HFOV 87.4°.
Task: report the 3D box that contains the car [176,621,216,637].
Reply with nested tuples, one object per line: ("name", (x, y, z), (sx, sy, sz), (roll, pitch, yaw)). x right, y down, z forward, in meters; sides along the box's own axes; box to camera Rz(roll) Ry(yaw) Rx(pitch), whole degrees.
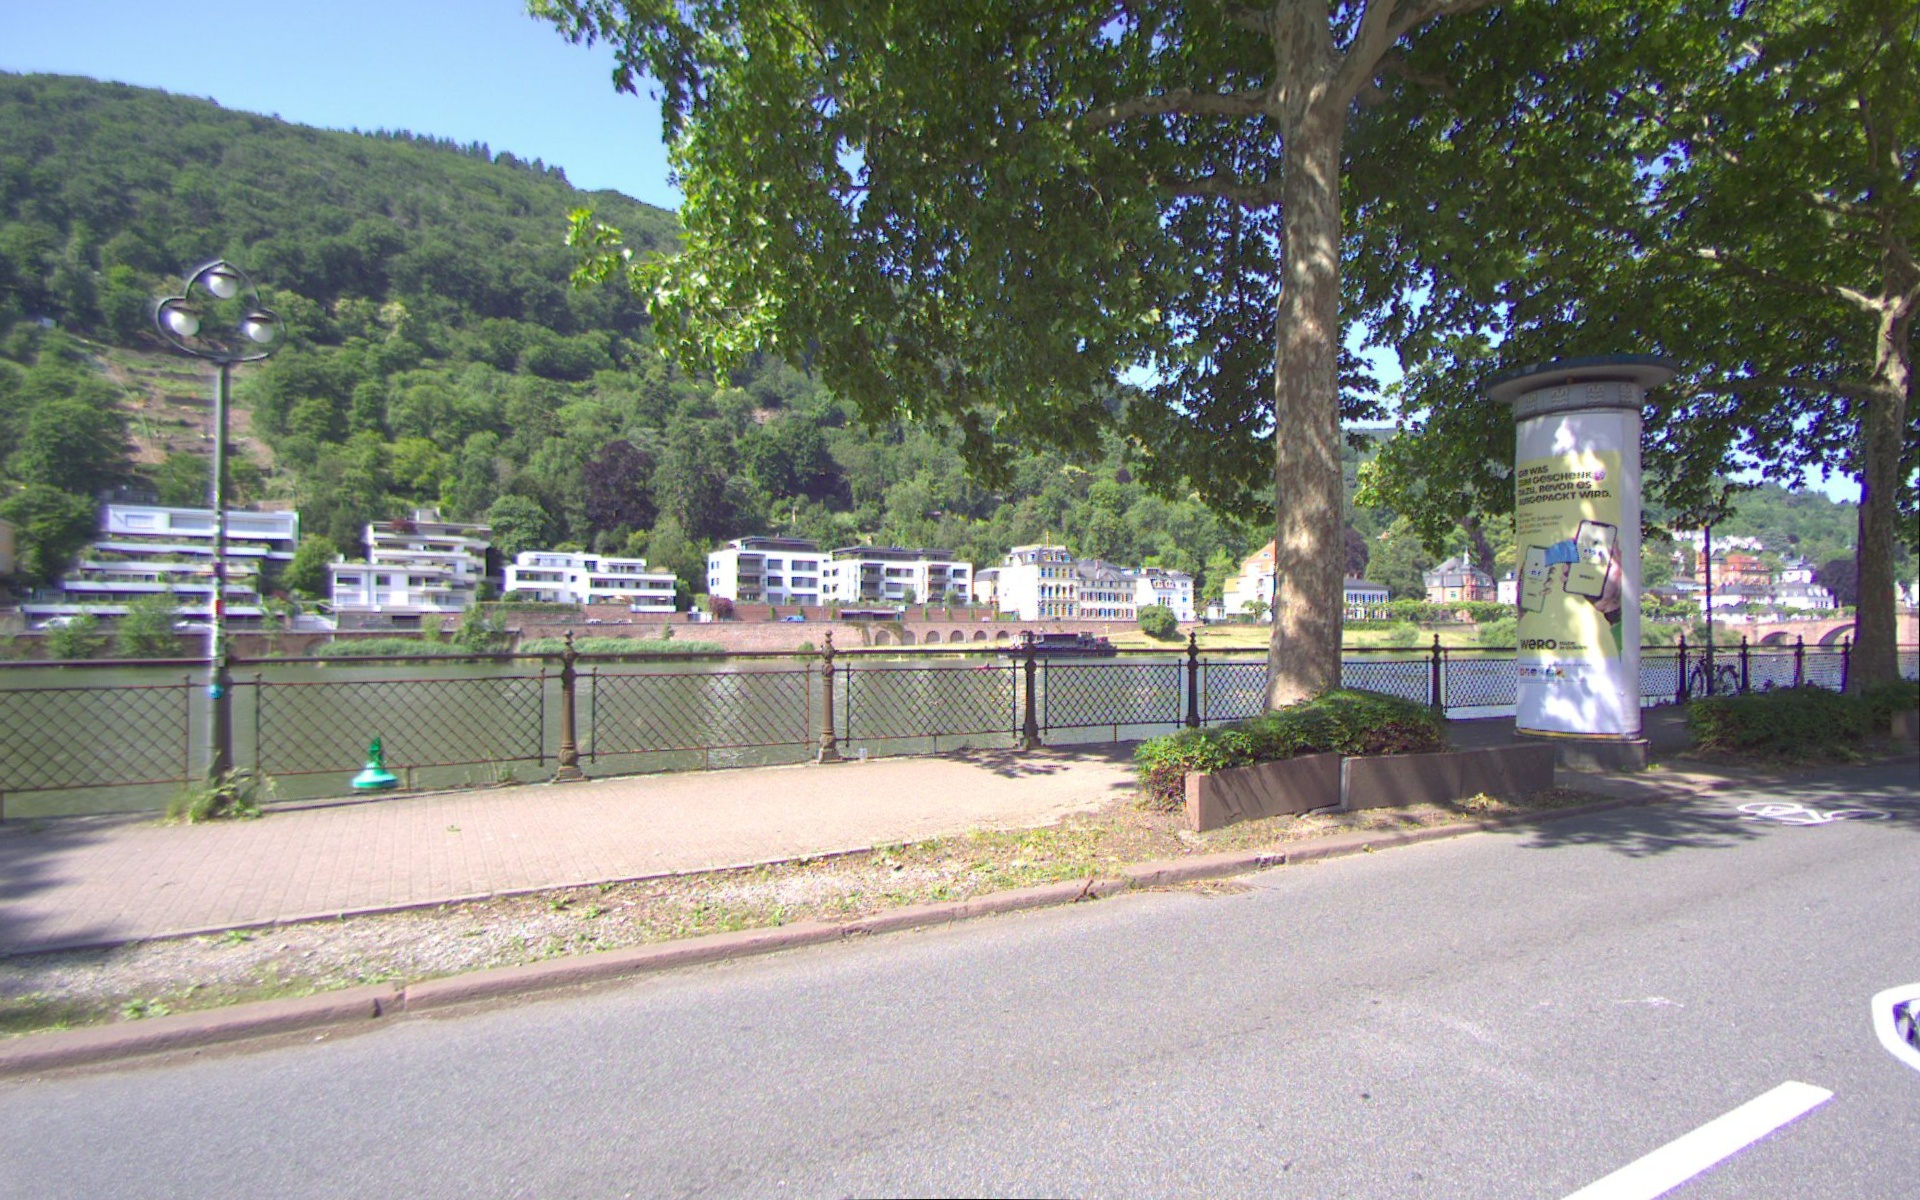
("car", (-101.397, 3.839, 133.286), (3.953, 2.040, 1.984), (2, 0, -30))

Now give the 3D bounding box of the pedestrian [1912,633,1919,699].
("pedestrian", (20.422, 1.387, 21.120), (0.411, 1.381, 0.477), (1, -1, -26))

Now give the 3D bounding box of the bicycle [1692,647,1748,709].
("bicycle", (14.355, 1.454, 18.961), (1.281, 1.106, 0.357), (1, 2, -31))

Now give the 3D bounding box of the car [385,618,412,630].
("car", (-95.213, 4.081, 170.225), (3.953, 2.041, 1.984), (0, 1, -30))
